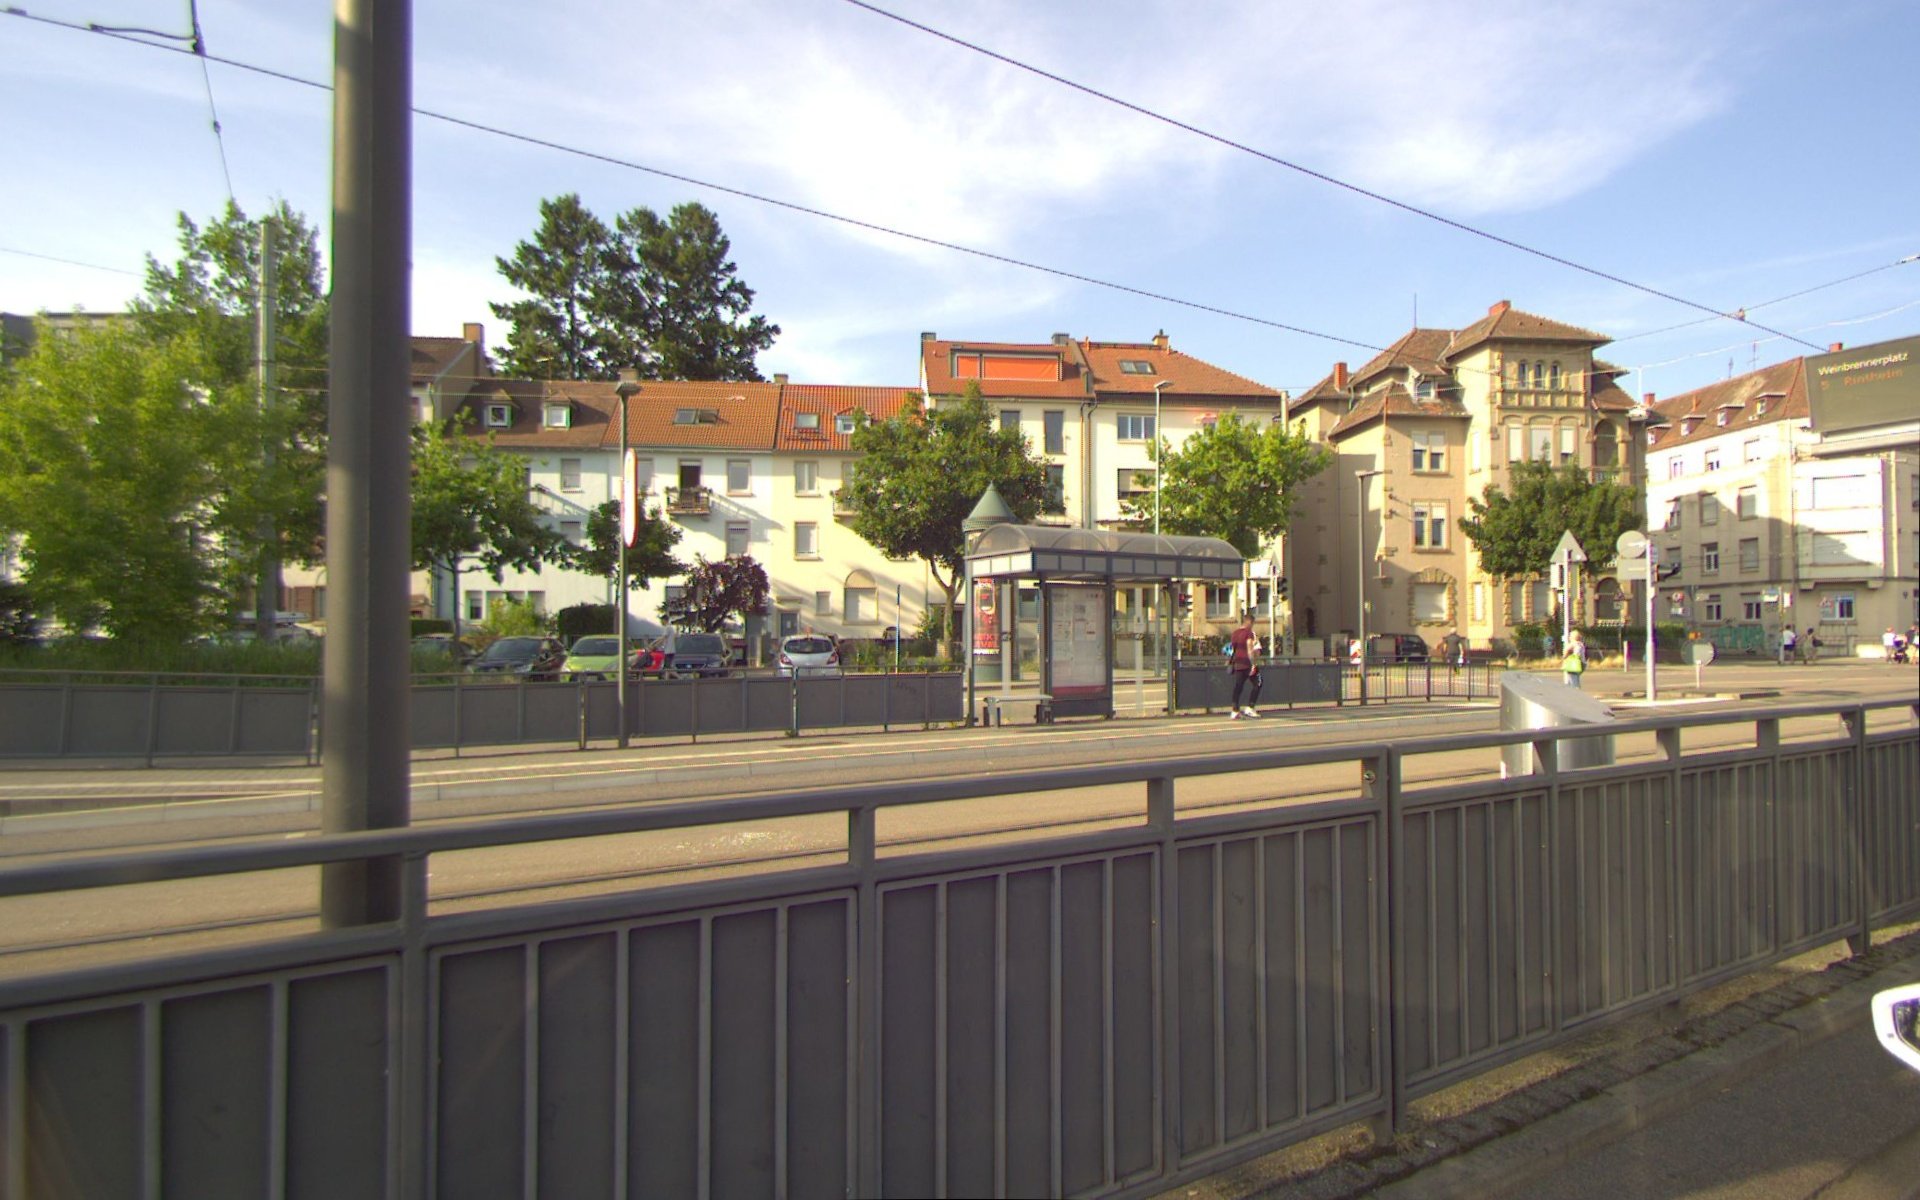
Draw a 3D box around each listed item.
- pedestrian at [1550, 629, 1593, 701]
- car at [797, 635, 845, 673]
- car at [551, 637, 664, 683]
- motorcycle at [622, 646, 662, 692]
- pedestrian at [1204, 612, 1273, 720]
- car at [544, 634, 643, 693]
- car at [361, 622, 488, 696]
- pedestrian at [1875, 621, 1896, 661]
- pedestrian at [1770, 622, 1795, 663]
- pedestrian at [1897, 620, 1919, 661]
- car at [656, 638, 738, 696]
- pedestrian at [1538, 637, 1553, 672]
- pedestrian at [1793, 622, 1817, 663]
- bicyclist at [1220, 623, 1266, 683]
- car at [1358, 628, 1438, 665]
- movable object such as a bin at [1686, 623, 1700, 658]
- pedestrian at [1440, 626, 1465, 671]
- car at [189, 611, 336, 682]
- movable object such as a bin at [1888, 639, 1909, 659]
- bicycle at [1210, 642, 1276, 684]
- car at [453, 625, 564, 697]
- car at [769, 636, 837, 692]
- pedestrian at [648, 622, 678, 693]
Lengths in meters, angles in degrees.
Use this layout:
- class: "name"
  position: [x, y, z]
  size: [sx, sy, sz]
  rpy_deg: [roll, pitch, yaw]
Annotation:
- class: "pedestrian"
  position: [13.967, 1.468, 22.955]
  size: [0.708, 1.610, 0.586]
  rpy_deg: [1, -2, -34]
- class: "car"
  position: [-6.085, 2.358, 44.299]
  size: [1.821, 1.578, 3.998]
  rpy_deg: [0, -2, -4]
- class: "car"
  position: [-12.178, 2.060, 34.867]
  size: [3.444, 1.544, 1.567]
  rpy_deg: [0, -2, -7]
- class: "motorcycle"
  position: [-7.557, 1.639, 23.879]
  size: [0.906, 1.065, 0.499]
  rpy_deg: [0, -2, -18]
- class: "pedestrian"
  position: [4.535, 1.055, 16.341]
  size: [0.874, 1.692, 0.666]
  rpy_deg: [1, -2, -33]
- class: "car"
  position: [-9.725, 1.640, 26.940]
  size: [1.740, 1.447, 3.995]
  rpy_deg: [0, -2, -9]
- class: "car"
  position: [-13.881, 1.499, 26.294]
  size: [1.822, 1.777, 3.993]
  rpy_deg: [0, -2, -11]
- class: "pedestrian"
  position: [44.634, 1.991, 48.429]
  size: [0.620, 1.905, 0.581]
  rpy_deg: [1, -2, -32]
- class: "pedestrian"
  position: [38.973, 2.020, 47.611]
  size: [0.616, 1.905, 0.659]
  rpy_deg: [0, -2, -15]
- class: "pedestrian"
  position: [45.191, 1.923, 47.863]
  size: [0.620, 1.906, 0.581]
  rpy_deg: [-4, 1, -32]
- class: "car"
  position: [-7.063, 1.759, 27.347]
  size: [1.740, 1.447, 3.995]
  rpy_deg: [0, -2, -9]
- class: "pedestrian"
  position: [26.119, 2.423, 44.808]
  size: [0.382, 1.535, 0.405]
  rpy_deg: [0, -2, -3]
- class: "pedestrian"
  position: [39.230, 1.951, 46.623]
  size: [0.642, 1.872, 0.670]
  rpy_deg: [1, -2, -32]
- class: "bicyclist"
  position: [8.100, 1.511, 28.764]
  size: [1.059, 1.646, 0.701]
  rpy_deg: [0, 1, -31]
- class: "car"
  position: [20.457, 2.140, 47.084]
  size: [1.742, 1.653, 3.998]
  rpy_deg: [0, -2, -5]
- class: "movable object such as a bin"
  position: [36.909, 2.016, 50.579]
  size: [0.259, 1.732, 2.379]
  rpy_deg: [-1, -2, 29]
- class: "pedestrian"
  position: [18.541, 1.831, 37.802]
  size: [0.592, 1.673, 0.681]
  rpy_deg: [0, -1, -3]
- class: "car"
  position: [-18.958, 1.250, 27.532]
  size: [1.822, 1.777, 3.993]
  rpy_deg: [0, -2, -11]
- class: "movable object such as a bin"
  position: [45.532, 2.379, 48.753]
  size: [0.655, 0.959, 0.580]
  rpy_deg: [1, -2, -31]
- class: "bicycle"
  position: [8.128, 1.779, 28.793]
  size: [1.842, 1.125, 0.722]
  rpy_deg: [1, 1, -30]
- class: "car"
  position: [-11.968, 1.581, 26.912]
  size: [1.822, 1.777, 3.993]
  rpy_deg: [0, -2, -11]
- class: "car"
  position: [-4.367, 1.724, 27.976]
  size: [1.740, 1.447, 3.995]
  rpy_deg: [0, -2, -9]
- class: "pedestrian"
  position: [-7.096, 1.362, 24.024]
  size: [0.661, 1.677, 0.370]
  rpy_deg: [0, -2, -19]
